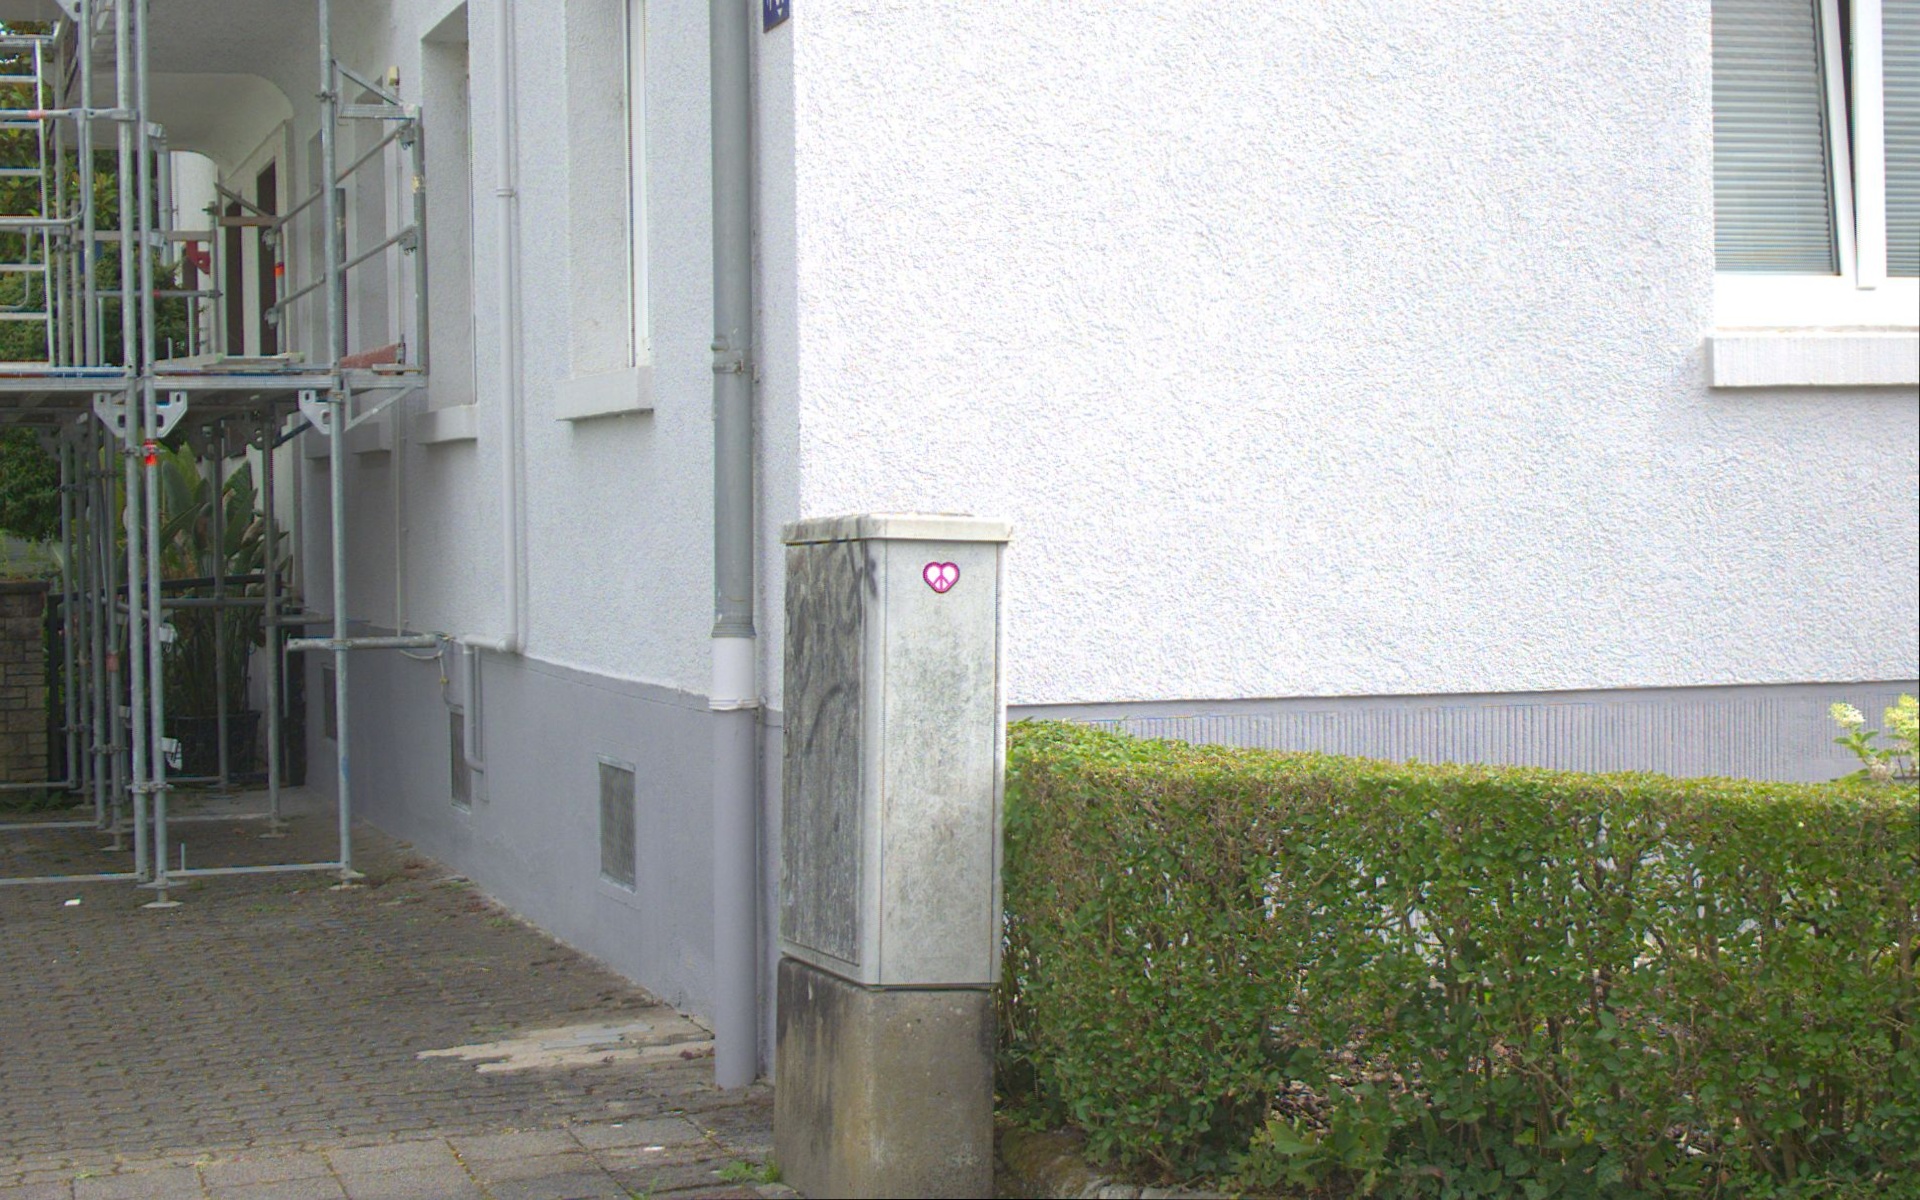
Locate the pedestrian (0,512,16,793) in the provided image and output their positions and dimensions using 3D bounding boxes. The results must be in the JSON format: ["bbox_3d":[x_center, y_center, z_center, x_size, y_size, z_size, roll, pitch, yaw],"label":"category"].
[{"bbox_3d":[-5.890,0.313,19.789,0.601,1.623,0.625,-1,0,15],"label":"pedestrian"}]
